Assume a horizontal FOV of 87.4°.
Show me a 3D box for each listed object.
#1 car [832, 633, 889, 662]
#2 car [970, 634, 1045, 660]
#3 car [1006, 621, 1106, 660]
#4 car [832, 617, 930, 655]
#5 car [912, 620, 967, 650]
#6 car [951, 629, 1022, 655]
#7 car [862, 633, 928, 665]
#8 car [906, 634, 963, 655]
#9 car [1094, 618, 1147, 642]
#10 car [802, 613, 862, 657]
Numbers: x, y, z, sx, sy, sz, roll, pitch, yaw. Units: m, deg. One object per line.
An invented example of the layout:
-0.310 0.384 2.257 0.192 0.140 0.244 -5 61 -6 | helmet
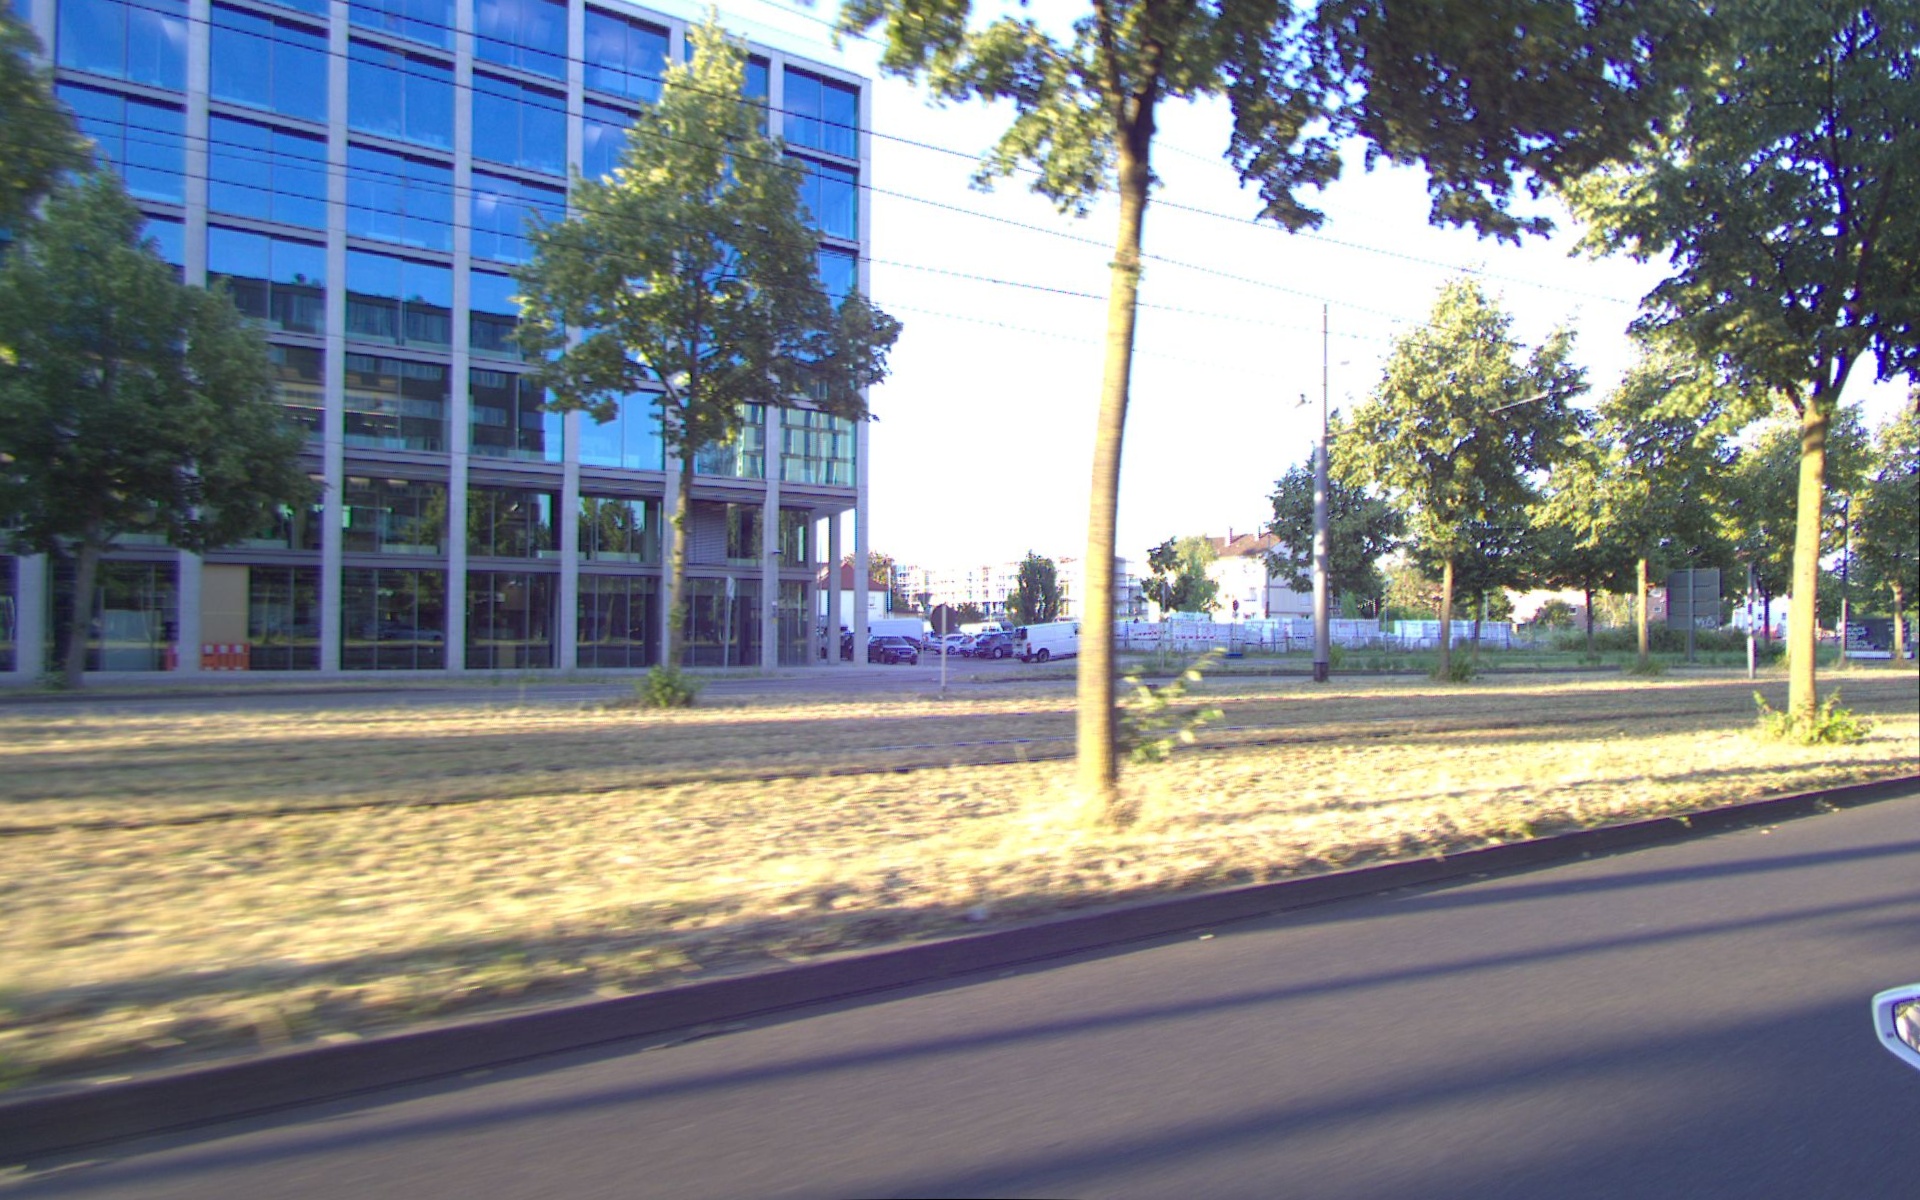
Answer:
-5.433 2.556 54.472 1.869 1.465 3.975 1 -2 -26 | car
2.809 2.754 59.066 3.952 1.437 1.985 1 -2 -30 | car
5.163 2.176 54.028 5.023 2.040 2.196 1 -2 -30 | car
-6.020 2.753 77.353 7.225 2.802 2.456 1 -2 -31 | car
-1.942 3.267 94.160 2.290 2.718 6.161 1 -2 -33 | car
1.651 2.592 61.999 3.952 1.530 1.985 1 -2 -30 | car
-3.269 2.409 49.951 1.869 1.465 3.973 1 -2 -26 | car
-1.918 3.380 75.811 3.954 1.530 1.788 1 -2 -31 | car
13.568 2.563 84.703 4.263 2.008 1.788 1 -2 -31 | car
-7.711 2.044 60.000 1.946 2.500 5.465 1 -2 -25 | car
